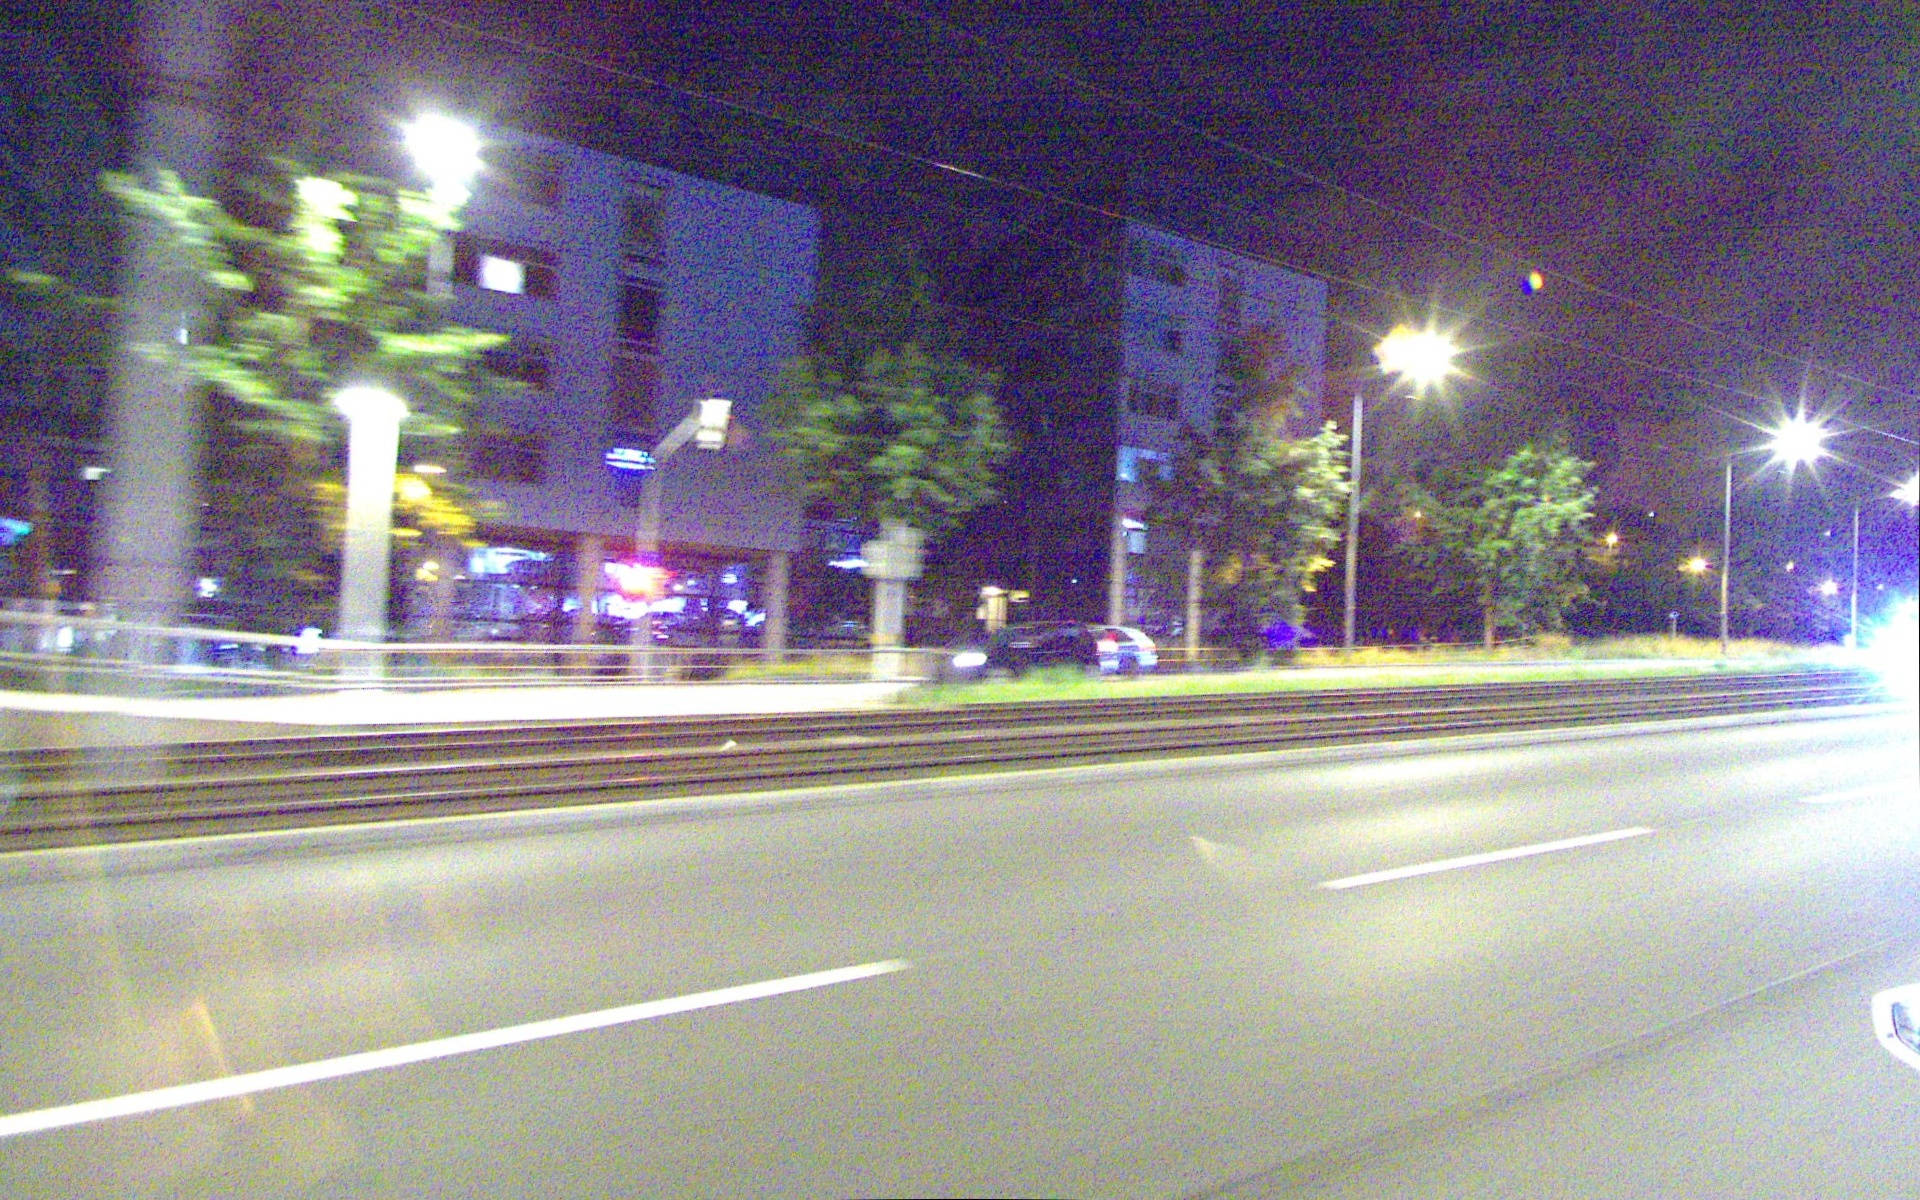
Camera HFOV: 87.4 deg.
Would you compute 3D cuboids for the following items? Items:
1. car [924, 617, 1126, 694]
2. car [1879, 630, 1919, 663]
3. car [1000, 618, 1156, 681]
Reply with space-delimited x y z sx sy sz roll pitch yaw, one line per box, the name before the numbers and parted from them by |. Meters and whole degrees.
car | 1.456 1.225 22.018 4.128 1.517 1.775 3 -1 -32
car | 53.659 2.636 56.502 4.179 1.736 1.770 2 -1 -31
car | 3.122 1.290 26.452 3.864 1.537 1.653 2 -1 -30
